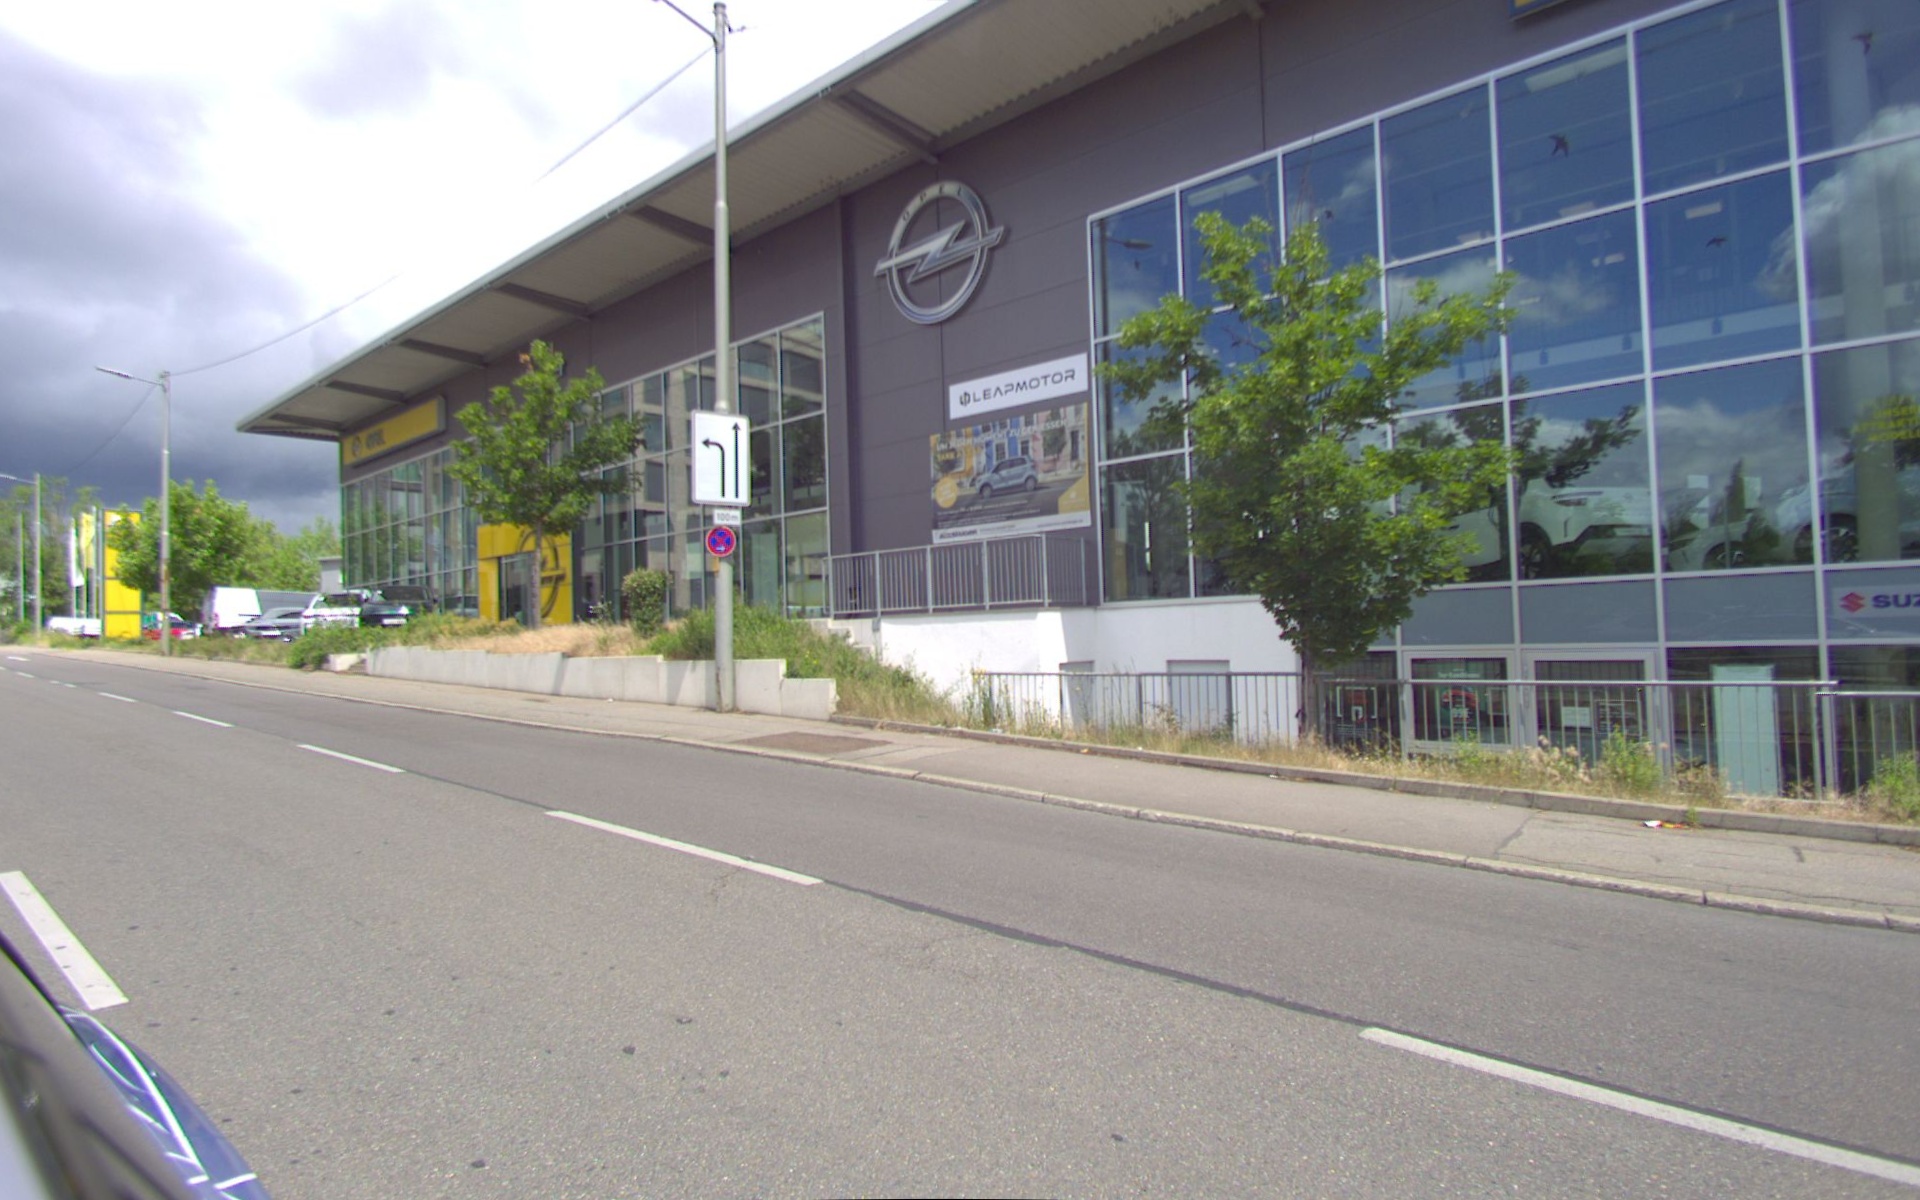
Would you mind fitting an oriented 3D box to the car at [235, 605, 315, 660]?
[{"bbox_3d":[-23.999,1.103,35.583,1.966,1.807,4.012,1,-1,-29],"label":"car"}]

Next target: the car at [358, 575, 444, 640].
[{"bbox_3d":[-16.200,0.247,29.231,1.966,1.741,4.012,1,-1,-32],"label":"car"}]

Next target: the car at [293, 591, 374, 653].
[{"bbox_3d":[-19.730,0.688,32.020,1.966,1.807,4.012,1,-1,-29],"label":"car"}]

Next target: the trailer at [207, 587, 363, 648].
[{"bbox_3d":[-27.945,0.731,42.034,1.998,2.367,5.011,-1,-1,39],"label":"trailer"}]
